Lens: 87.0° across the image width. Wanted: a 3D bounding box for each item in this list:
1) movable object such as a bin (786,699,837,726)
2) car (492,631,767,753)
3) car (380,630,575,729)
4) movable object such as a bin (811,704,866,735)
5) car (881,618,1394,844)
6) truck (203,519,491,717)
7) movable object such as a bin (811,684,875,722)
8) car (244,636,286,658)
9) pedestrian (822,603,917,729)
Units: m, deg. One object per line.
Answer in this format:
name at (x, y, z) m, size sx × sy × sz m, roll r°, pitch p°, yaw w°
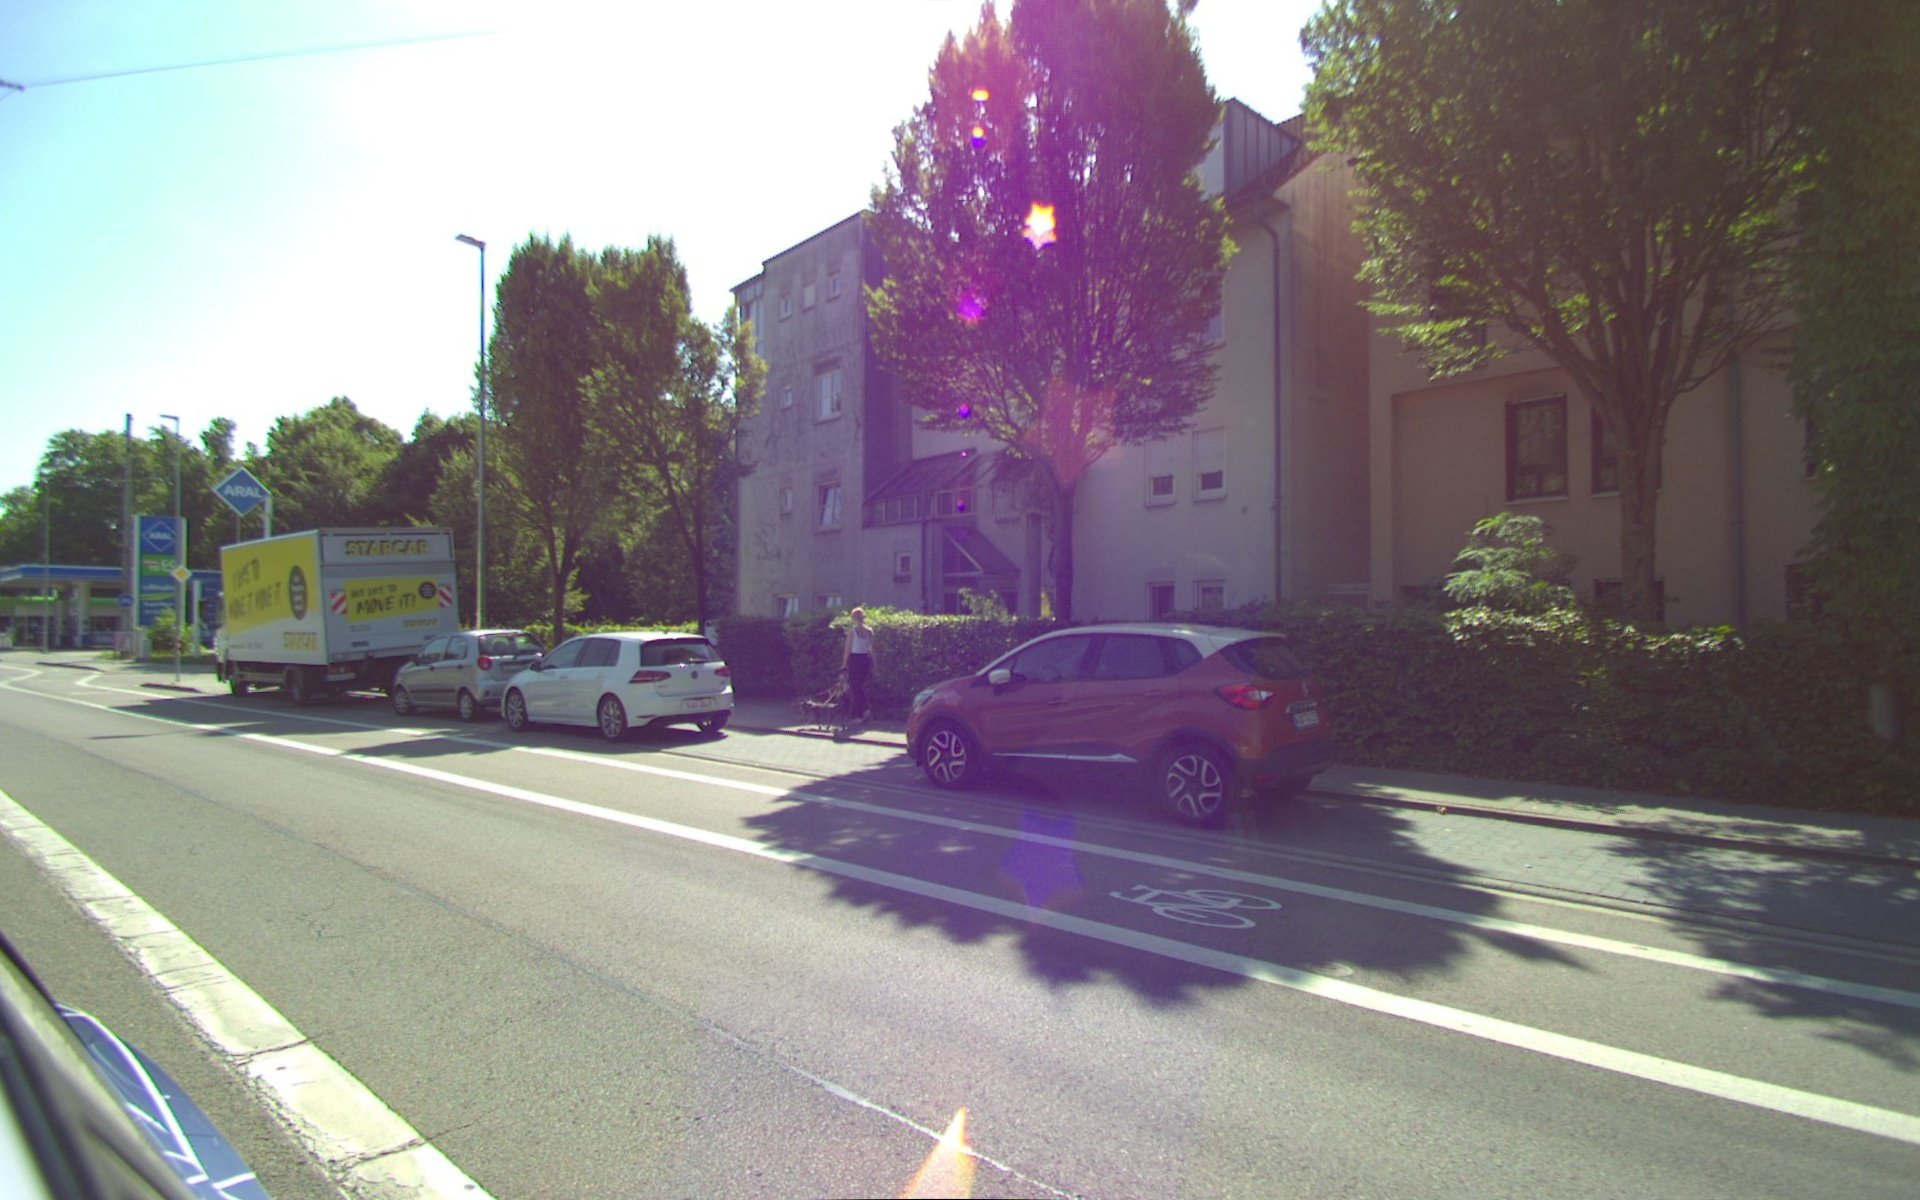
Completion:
movable object such as a bin at (-2.208, 1.659, 15.025) m, size 0.755 × 0.342 × 0.323 m, roll -2°, pitch -2°, yaw 40°
car at (-4.840, 1.202, 14.519) m, size 4.277 × 1.440 × 1.740 m, roll -2°, pitch -1°, yaw 40°
car at (-8.434, 1.299, 17.607) m, size 3.630 × 1.495 × 1.594 m, roll -1°, pitch 0°, yaw 38°
movable object such as a bin at (-1.674, 1.636, 13.927) m, size 0.755 × 0.357 × 0.323 m, roll -2°, pitch -2°, yaw 40°
car at (1.425, 0.978, 9.201) m, size 4.315 × 1.563 × 1.713 m, roll -2°, pitch -1°, yaw 40°
truck at (-13.523, 0.396, 21.915) m, size 8.582 × 3.557 × 2.640 m, roll -2°, pitch 0°, yaw 40°
movable object such as a bin at (-1.810, 1.570, 15.559) m, size 1.075 × 0.520 × 0.323 m, roll -2°, pitch -2°, yaw 40°
car at (-45.380, 3.023, 66.181) m, size 1.774 × 1.356 × 4.257 m, roll 1°, pitch -2°, yaw -28°
pedestrian at (-1.296, 0.917, 14.458) m, size 1.054 × 1.703 × 0.866 m, roll -2°, pitch -2°, yaw 39°
